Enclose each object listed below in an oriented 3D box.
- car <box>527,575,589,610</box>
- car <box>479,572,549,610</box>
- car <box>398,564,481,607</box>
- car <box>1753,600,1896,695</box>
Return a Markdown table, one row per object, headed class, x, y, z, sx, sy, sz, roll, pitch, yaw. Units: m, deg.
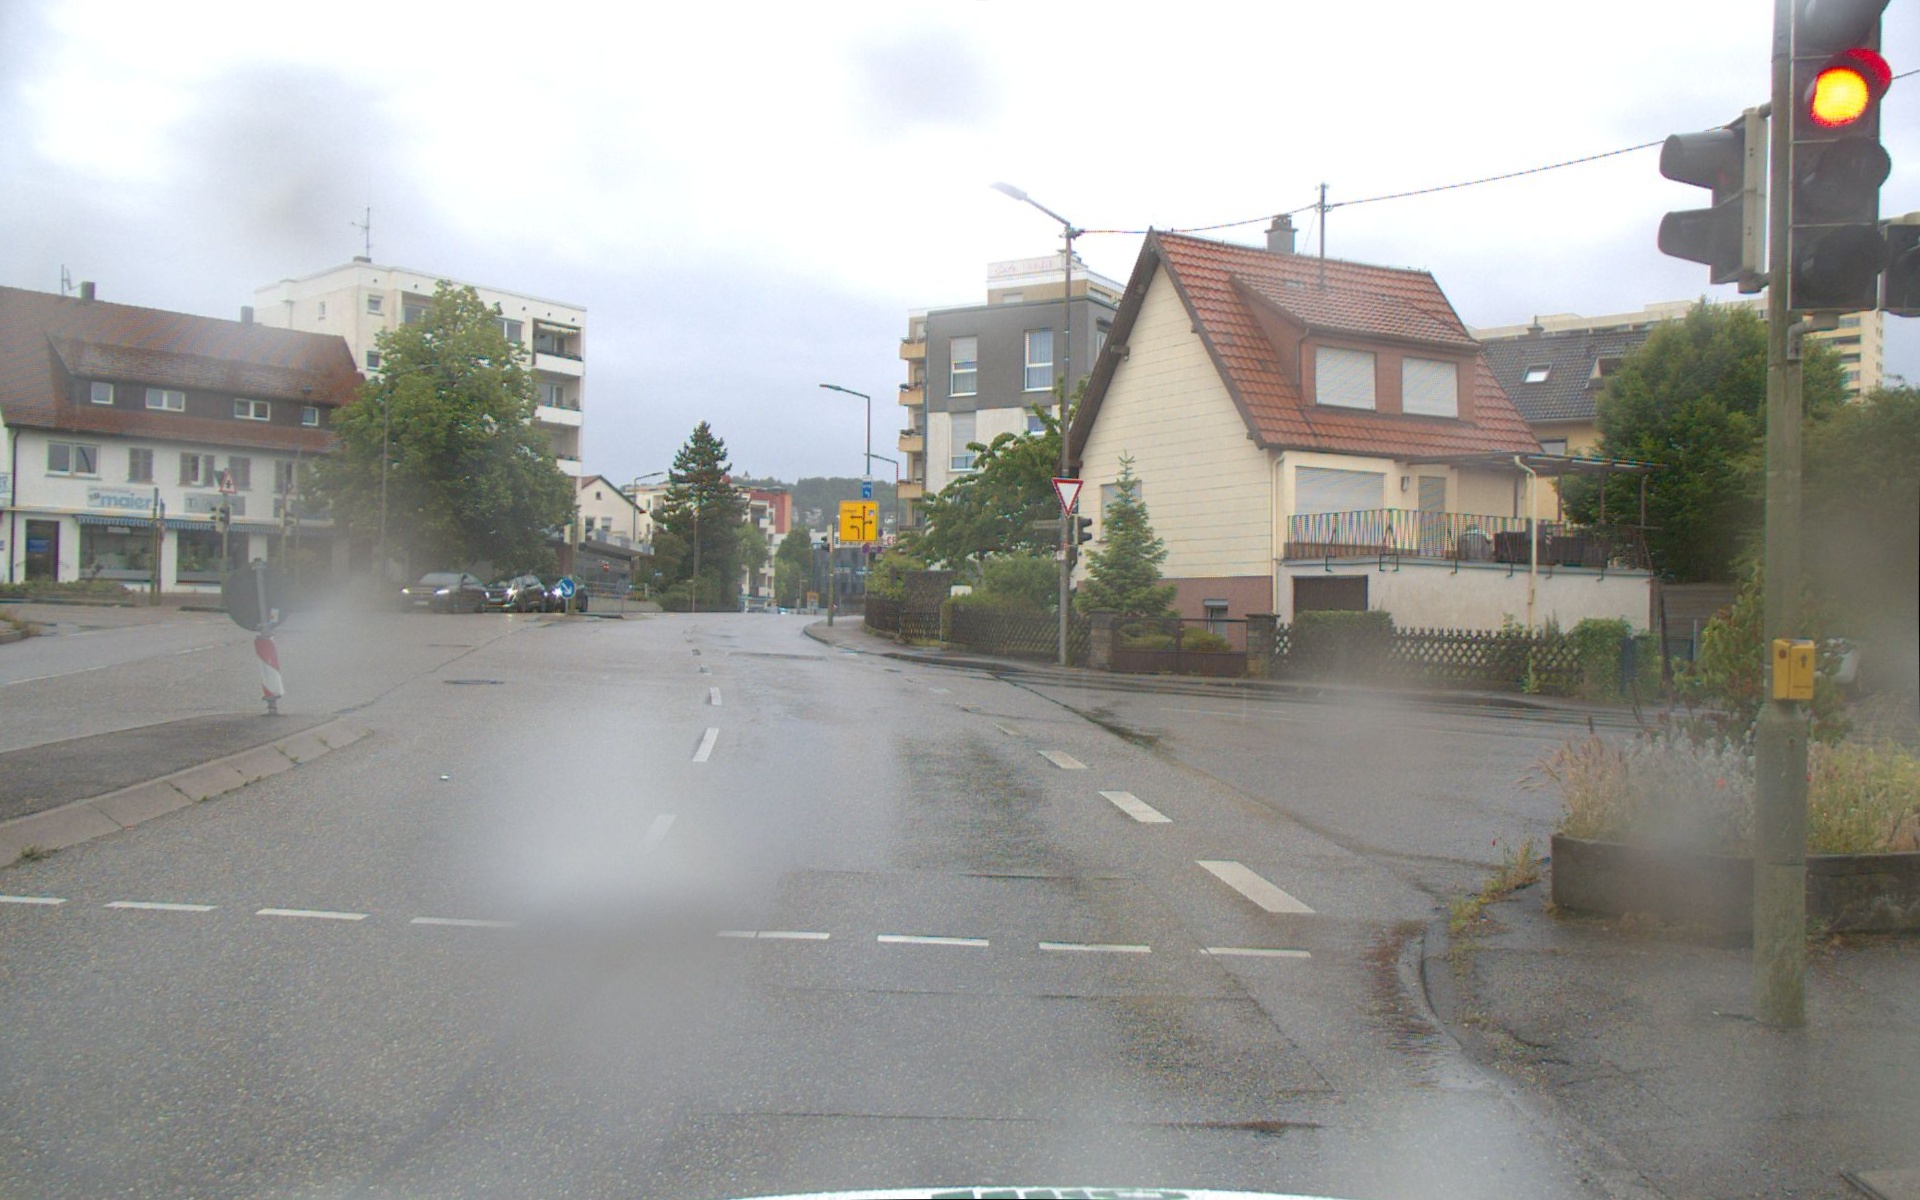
| class | x | y | z | sx | sy | sz | roll | pitch | yaw |
| --- | --- | --- | --- | --- | --- | --- | --- | --- | --- |
| car | -17.257 | -0.339 | 71.163 | 1.742 | 1.445 | 3.830 | 1 | 1 | -1 |
| car | -17.581 | -0.358 | 65.351 | 1.680 | 1.411 | 4.020 | 1 | 1 | -1 |
| car | -18.184 | -0.512 | 57.935 | 1.742 | 1.445 | 3.830 | 1 | 1 | -1 |
| car | 15.624 | 0.804 | 29.809 | 1.710 | 1.541 | 3.985 | 1 | 1 | 36 |
